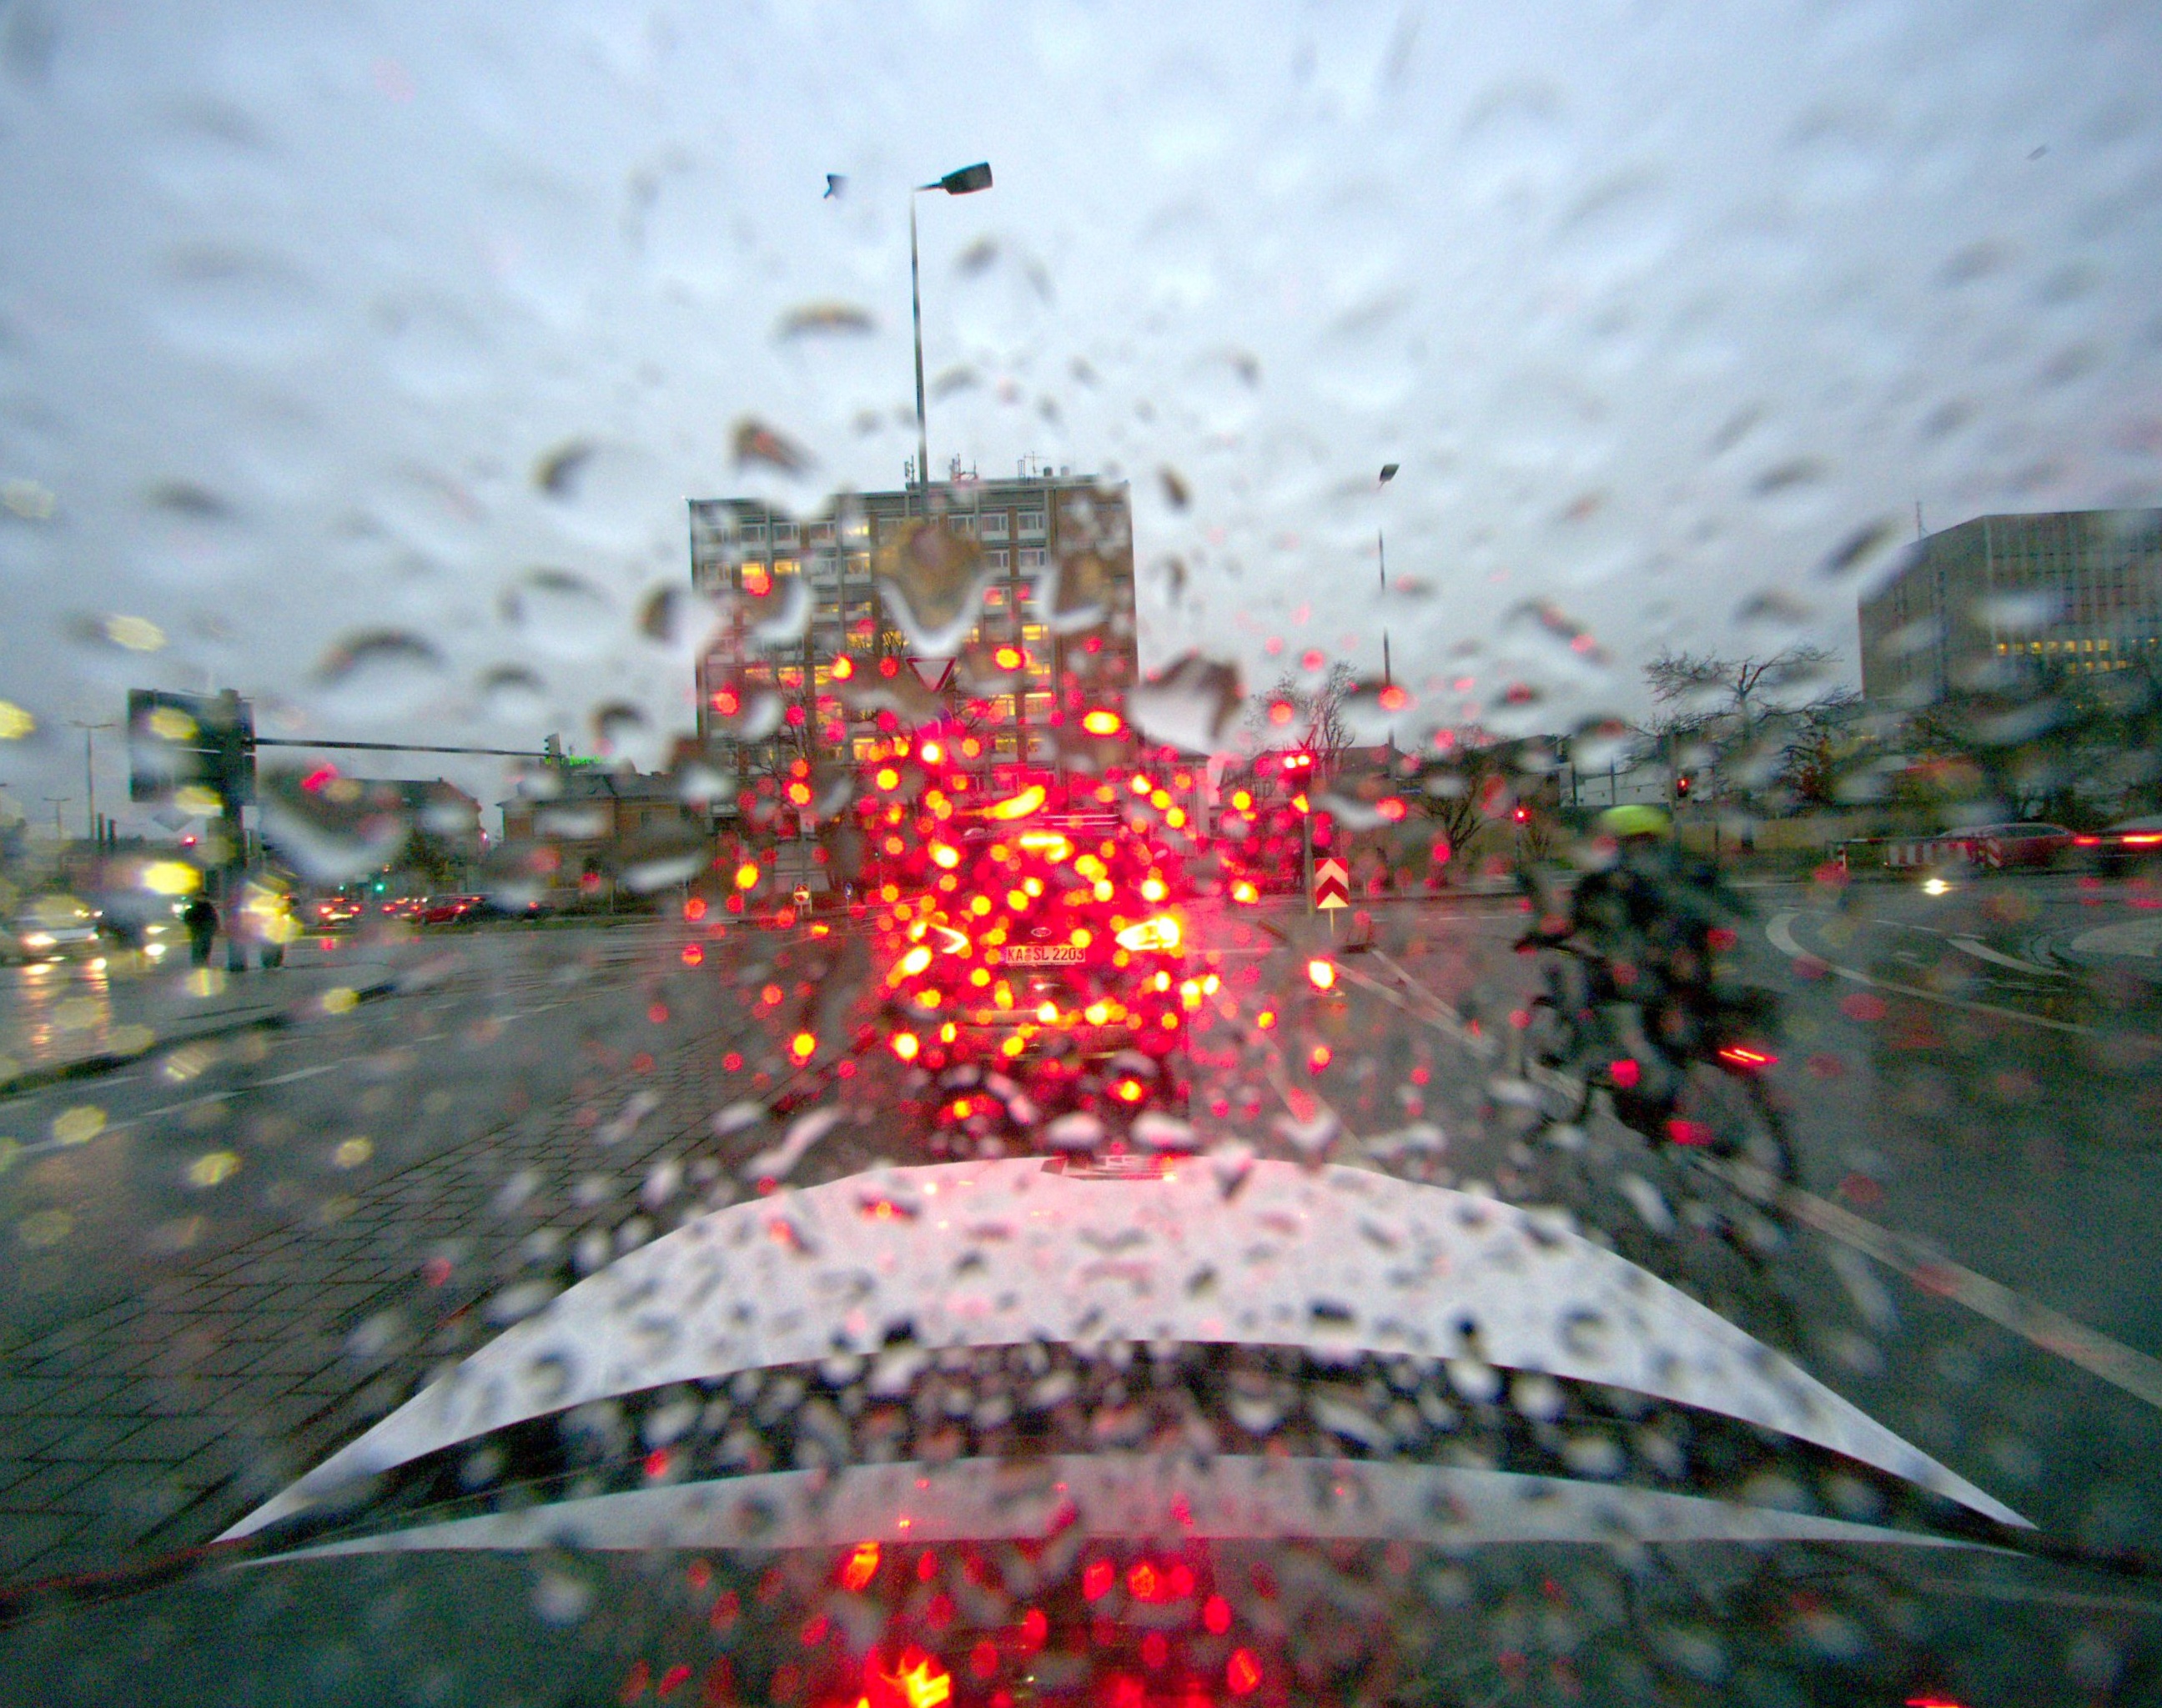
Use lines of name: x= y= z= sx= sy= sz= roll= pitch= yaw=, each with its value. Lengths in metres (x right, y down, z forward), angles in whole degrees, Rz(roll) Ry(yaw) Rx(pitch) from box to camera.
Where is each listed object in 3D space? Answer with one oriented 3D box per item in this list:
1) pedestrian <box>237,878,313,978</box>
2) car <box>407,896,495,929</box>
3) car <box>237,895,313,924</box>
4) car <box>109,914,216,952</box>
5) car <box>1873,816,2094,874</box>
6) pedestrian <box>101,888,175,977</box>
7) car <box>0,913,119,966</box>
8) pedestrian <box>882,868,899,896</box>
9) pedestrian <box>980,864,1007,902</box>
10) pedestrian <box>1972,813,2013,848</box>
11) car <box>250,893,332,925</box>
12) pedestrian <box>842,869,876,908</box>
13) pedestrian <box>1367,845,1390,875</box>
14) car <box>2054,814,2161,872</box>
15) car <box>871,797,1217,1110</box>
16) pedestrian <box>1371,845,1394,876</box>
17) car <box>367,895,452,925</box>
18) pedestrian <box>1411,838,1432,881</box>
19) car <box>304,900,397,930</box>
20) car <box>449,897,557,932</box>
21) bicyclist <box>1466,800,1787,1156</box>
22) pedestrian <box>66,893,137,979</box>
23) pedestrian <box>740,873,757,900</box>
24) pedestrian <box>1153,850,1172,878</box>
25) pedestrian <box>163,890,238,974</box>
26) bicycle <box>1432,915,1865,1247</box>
pedestrian: x=-17.284 y=1.554 z=17.490 sx=0.996 sy=2.021 sz=0.792 roll=-3 pitch=0 yaw=-39
car: x=-33.318 y=3.061 z=43.081 sx=3.954 sy=1.568 sz=1.836 roll=-1 pitch=-1 yaw=20
car: x=-53.083 y=3.622 z=53.670 sx=1.505 sy=1.702 sz=3.411 roll=-1 pitch=-1 yaw=39
car: x=-42.121 y=3.621 z=37.345 sx=4.538 sy=1.477 sz=1.821 roll=-3 pitch=-1 yaw=22
car: x=27.440 y=-0.260 z=24.905 sx=4.390 sy=1.477 sz=1.814 roll=-3 pitch=-1 yaw=6
pedestrian: x=-20.820 y=1.714 z=17.989 sx=0.733 sy=1.838 sz=0.674 roll=-3 pitch=0 yaw=-11
car: x=-33.775 y=2.783 z=26.806 sx=3.668 sy=1.448 sz=1.755 roll=-2 pitch=1 yaw=24
pedestrian: x=-11.521 y=1.704 z=49.203 sx=0.754 sy=1.628 sz=0.560 roll=-3 pitch=0 yaw=16
pedestrian: x=-4.661 y=1.535 z=43.454 sx=0.918 sy=1.978 sz=0.966 roll=-3 pitch=0 yaw=43
pedestrian: x=43.283 y=-1.115 z=38.679 sx=0.956 sy=1.603 sz=0.796 roll=-3 pitch=0 yaw=9
car: x=-51.147 y=3.538 z=52.778 sx=1.649 sy=1.826 sz=3.609 roll=-1 pitch=-1 yaw=39
pedestrian: x=-11.203 y=1.749 z=41.067 sx=0.991 sy=1.842 sz=1.146 roll=-3 pitch=2 yaw=31
pedestrian: x=15.696 y=0.323 z=42.987 sx=0.887 sy=1.533 sz=0.888 roll=-3 pitch=0 yaw=11
car: x=26.680 y=-0.356 z=19.207 sx=4.657 sy=1.302 sz=1.943 roll=-3 pitch=-1 yaw=8
car: x=-0.155 y=0.591 z=6.691 sx=1.986 sy=1.789 sz=4.001 roll=0 pitch=-1 yaw=2
pedestrian: x=15.515 y=0.340 z=41.914 sx=0.918 sy=1.533 sz=1.046 roll=-3 pitch=0 yaw=12
car: x=-38.392 y=3.181 z=46.625 sx=1.496 sy=1.461 sz=3.453 roll=-1 pitch=-1 yaw=31
pedestrian: x=17.284 y=0.286 z=41.352 sx=0.875 sy=2.113 sz=0.901 roll=-3 pitch=0 yaw=24
car: x=-43.809 y=3.629 z=48.924 sx=1.582 sy=1.482 sz=3.840 roll=-1 pitch=-1 yaw=31
car: x=-28.686 y=3.005 z=40.499 sx=3.976 sy=1.568 sz=1.826 roll=0 pitch=-1 yaw=-2
bicyclist: x=2.497 y=0.511 z=3.899 sx=0.780 sy=1.453 sz=1.134 roll=0 pitch=-1 yaw=2
pedestrian: x=-21.494 y=1.784 z=17.884 sx=0.741 sy=1.770 sz=0.546 roll=-3 pitch=0 yaw=-12
pedestrian: x=-21.463 y=2.107 z=52.596 sx=0.634 sy=1.688 sz=0.640 roll=-3 pitch=0 yaw=18
pedestrian: x=4.869 y=0.615 z=48.614 sx=0.765 sy=1.628 sz=0.713 roll=-3 pitch=0 yaw=-36
pedestrian: x=-19.534 y=1.709 z=18.078 sx=0.653 sy=1.755 sz=0.856 roll=-3 pitch=0 yaw=18
bicycle: x=2.492 y=0.903 z=3.957 sx=0.780 sy=1.075 sz=1.958 roll=0 pitch=-1 yaw=2
